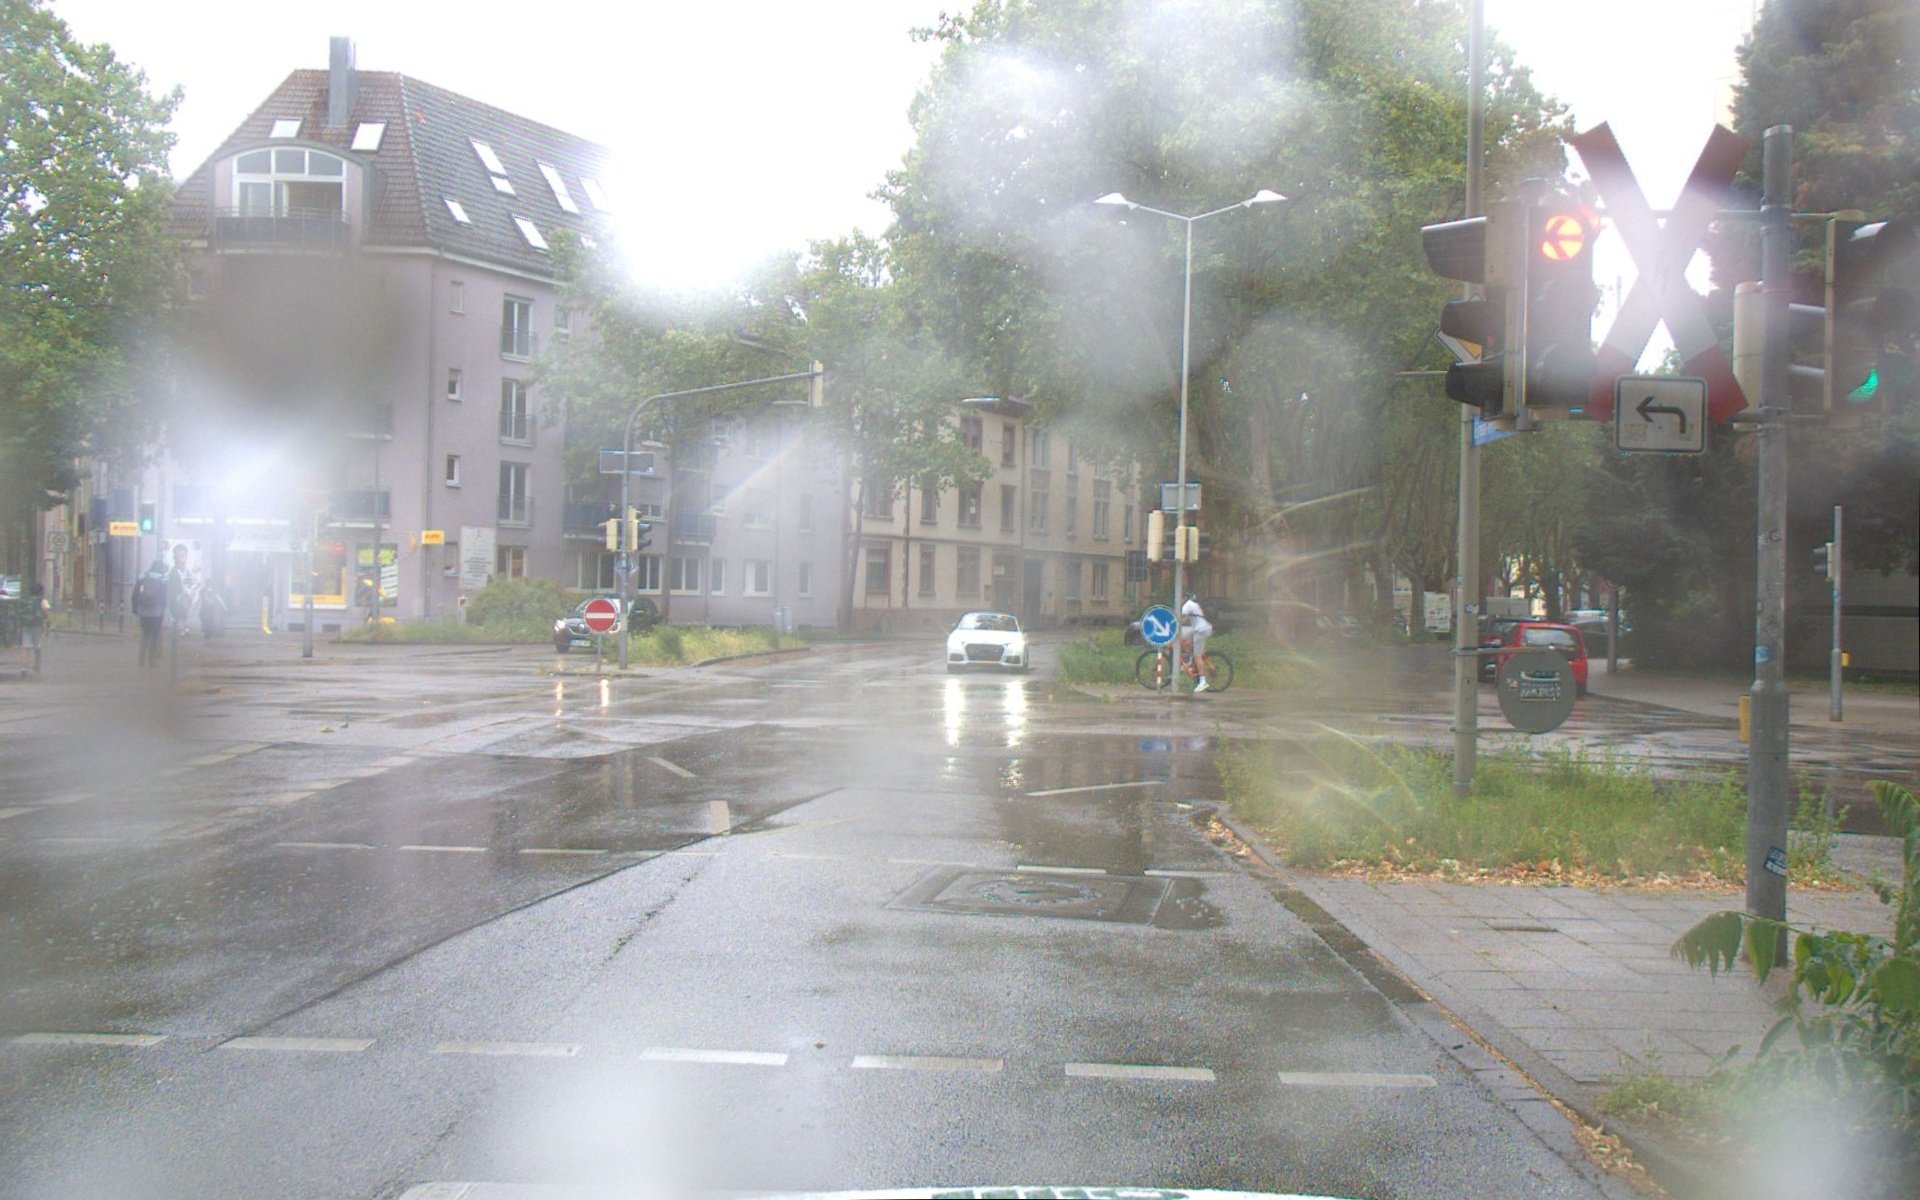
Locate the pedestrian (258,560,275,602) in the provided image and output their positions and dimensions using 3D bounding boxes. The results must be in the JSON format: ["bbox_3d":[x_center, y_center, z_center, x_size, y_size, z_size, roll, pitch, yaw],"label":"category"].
[{"bbox_3d":[-22.663,-0.605,54.030,0.437,1.353,0.559,1,-1,-18],"label":"pedestrian"}]

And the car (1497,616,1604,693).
[{"bbox_3d":[13.046,1.162,36.724,1.754,1.524,4.003,1,0,13],"label":"car"}]

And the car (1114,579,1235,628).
[{"bbox_3d":[7.045,0.111,54.238,3.784,1.512,1.717,1,0,12],"label":"car"}]

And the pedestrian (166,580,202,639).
[{"bbox_3d":[-21.800,0.273,46.449,0.669,1.628,0.954,1,-1,-40],"label":"pedestrian"}]

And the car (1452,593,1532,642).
[{"bbox_3d":[33.666,1.090,104.801,1.974,3.000,4.720,1,0,-31],"label":"car"}]

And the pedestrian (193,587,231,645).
[{"bbox_3d":[-20.413,0.436,45.160,0.745,1.560,0.780,1,-1,-40],"label":"pedestrian"}]

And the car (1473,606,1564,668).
[{"bbox_3d":[13.892,0.877,41.294,1.745,1.371,3.932,2,1,13],"label":"car"}]

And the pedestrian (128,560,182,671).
[{"bbox_3d":[-13.830,0.262,28.434,0.777,1.888,0.676,1,0,-25],"label":"pedestrian"}]

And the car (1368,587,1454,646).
[{"bbox_3d":[23.950,0.851,88.058,2.005,2.999,4.742,1,0,-21],"label":"car"}]

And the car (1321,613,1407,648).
[{"bbox_3d":[19.257,1.444,78.915,3.902,1.574,2.002,1,0,12],"label":"car"}]

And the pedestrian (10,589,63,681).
[{"bbox_3d":[-14.562,0.542,26.065,0.643,1.420,0.773,1,0,-35],"label":"pedestrian"}]

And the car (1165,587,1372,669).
[{"bbox_3d":[6.118,0.532,32.816,3.902,1.512,2.002,1,0,12],"label":"car"}]

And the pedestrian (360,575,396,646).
[{"bbox_3d":[-18.083,0.326,51.371,0.897,2.188,0.879,1,-1,-27],"label":"pedestrian"}]

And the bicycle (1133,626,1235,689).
[{"bbox_3d":[4.118,1.050,30.433,1.833,1.100,0.657,1,0,7],"label":"bicycle"}]

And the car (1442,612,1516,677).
[{"bbox_3d":[14.984,1.255,47.898,1.745,1.757,4.003,1,0,13],"label":"car"}]

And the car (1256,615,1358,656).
[{"bbox_3d":[13.774,1.400,65.672,3.902,1.512,2.002,1,0,12],"label":"car"}]

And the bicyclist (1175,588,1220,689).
[{"bbox_3d":[4.357,0.695,30.409,0.778,1.817,0.697,1,-1,7],"label":"bicyclist"}]

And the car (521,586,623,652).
[{"bbox_3d":[-9.631,0.445,41.334,1.716,1.538,3.838,1,0,-2],"label":"car"}]

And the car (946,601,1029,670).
[{"bbox_3d":[0.662,0.796,39.100,1.845,1.461,4.001,1,0,1],"label":"car"}]
